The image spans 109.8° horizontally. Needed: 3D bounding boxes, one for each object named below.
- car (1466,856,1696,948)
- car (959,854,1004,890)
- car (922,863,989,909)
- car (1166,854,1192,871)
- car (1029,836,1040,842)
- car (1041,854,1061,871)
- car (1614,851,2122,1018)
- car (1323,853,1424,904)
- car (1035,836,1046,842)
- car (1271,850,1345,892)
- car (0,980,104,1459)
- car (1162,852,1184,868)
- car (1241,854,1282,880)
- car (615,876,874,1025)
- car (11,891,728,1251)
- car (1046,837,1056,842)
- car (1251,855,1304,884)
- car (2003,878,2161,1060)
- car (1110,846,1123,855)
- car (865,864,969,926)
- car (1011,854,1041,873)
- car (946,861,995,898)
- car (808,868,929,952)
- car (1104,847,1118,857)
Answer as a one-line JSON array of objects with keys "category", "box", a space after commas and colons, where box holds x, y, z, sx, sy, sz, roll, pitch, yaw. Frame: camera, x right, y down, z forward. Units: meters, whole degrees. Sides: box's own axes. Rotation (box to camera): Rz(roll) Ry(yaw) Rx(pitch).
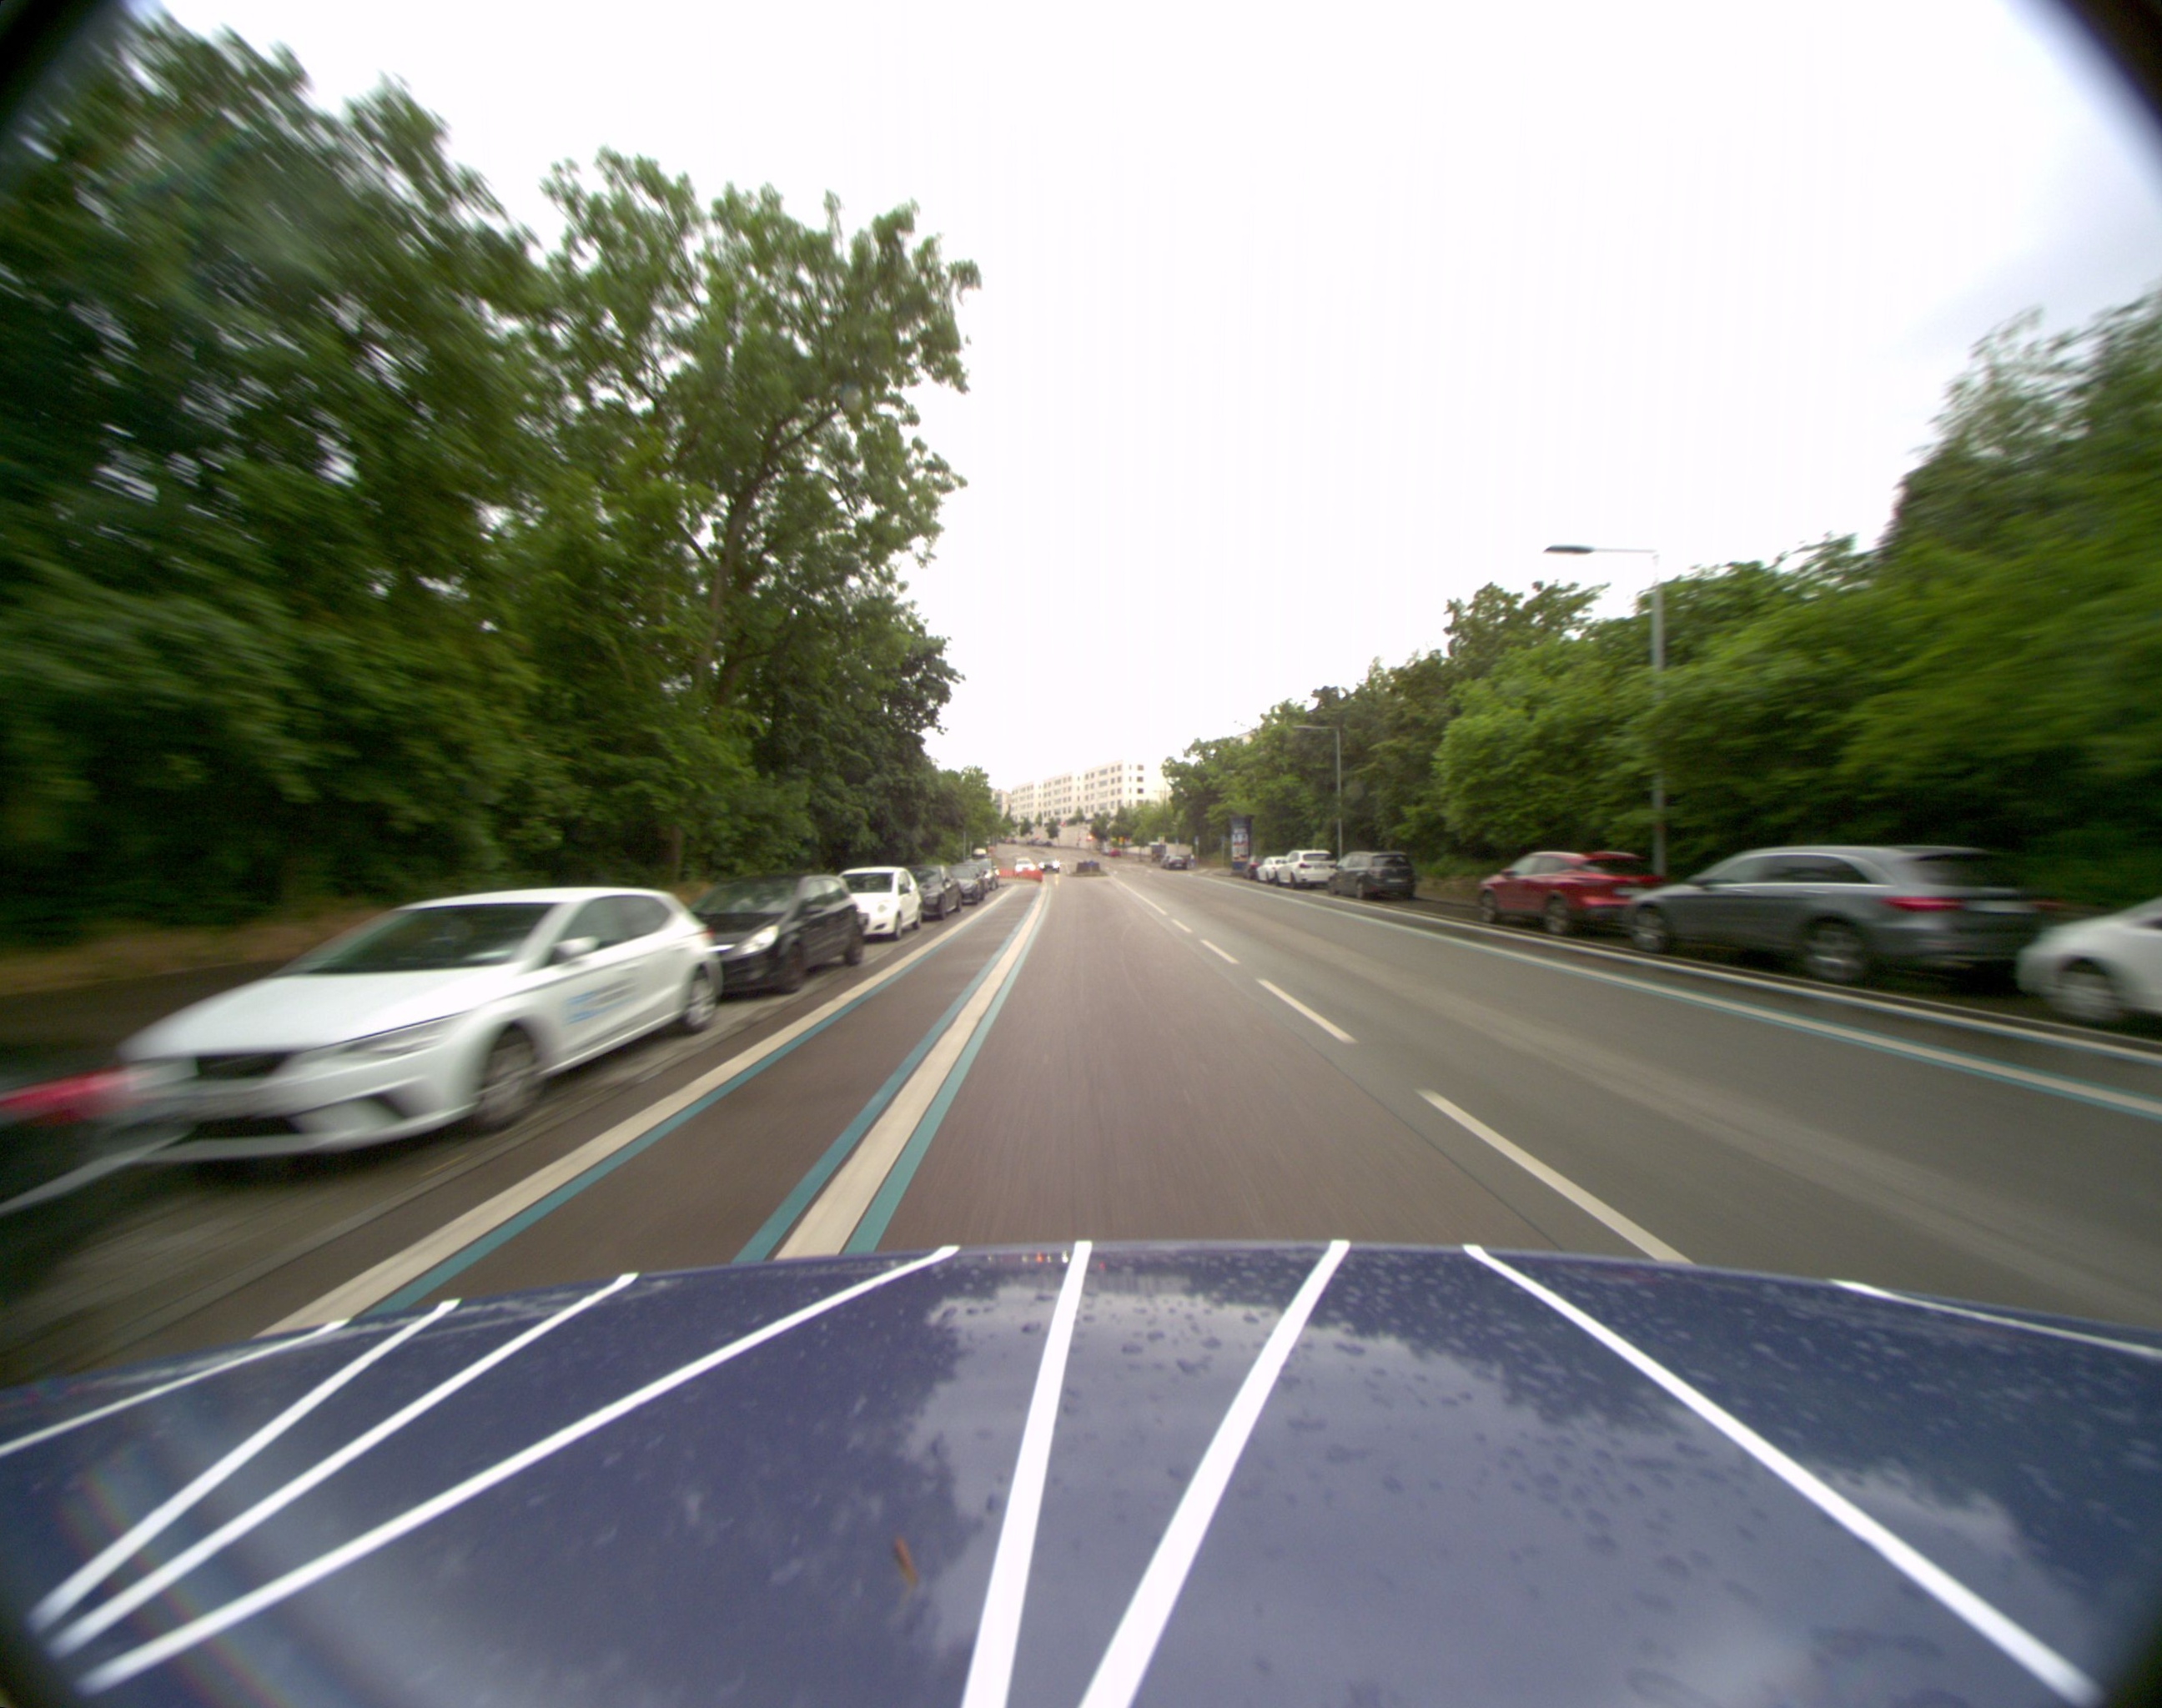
[{"category": "car", "box": [9.992, 0.861, 15.713, 1.923, 1.607, 4.490, 0, 0, 2]}, {"category": "car", "box": [-4.933, 0.857, 38.169, 1.827, 1.605, 4.250, -3, 1, -3]}, {"category": "car", "box": [-4.427, 1.095, 27.428, 1.858, 1.391, 4.384, -2, 0, -3]}, {"category": "car", "box": [9.708, 0.812, 75.622, 1.911, 1.406, 4.782, -2, 1, 1]}, {"category": "car", "box": [-13.228, -4.377, 216.660, 1.792, 1.623, 3.990, 0, 3, -24]}, {"category": "car", "box": [-3.168, 0.821, 78.543, 1.830, 1.584, 3.997, -2, 1, -5]}, {"category": "car", "box": [9.749, 0.836, 10.151, 1.998, 1.690, 4.615, -1, 0, 0]}, {"category": "car", "box": [10.313, 0.807, 27.190, 1.736, 1.639, 4.570, -2, 0, -2]}, {"category": "car", "box": [-11.375, -4.159, 212.533, 1.866, 1.470, 3.990, -1, 2, -24]}, {"category": "car", "box": [10.417, 0.713, 35.278, 1.998, 1.755, 4.960, -1, 0, 1]}, {"category": "car", "box": [-4.066, 1.152, 0.241, 1.756, 1.385, 4.445, -3, 0, -2]}, {"category": "car", "box": [9.868, 0.605, 81.776, 1.845, 1.580, 4.928, -2, 1, 1]}, {"category": "car", "box": [11.056, 0.775, 46.819, 1.753, 1.436, 4.588, -1, 0, 4]}, {"category": "car", "box": [-4.259, 1.128, 10.361, 1.663, 1.456, 3.900, -3, 0, 1]}, {"category": "car", "box": [-4.336, 1.136, 5.659, 1.622, 1.458, 3.999, -2, 0, -2]}, {"category": "car", "box": [-8.154, -3.905, 207.523, 1.683, 1.451, 2.689, -1, 3, -25]}, {"category": "car", "box": [10.559, 0.813, 41.148, 1.723, 1.451, 4.708, -1, 0, 1]}, {"category": "car", "box": [9.531, 0.950, 5.383, 1.621, 1.440, 3.657, 0, 0, 2]}, {"category": "car", "box": [6.376, -0.617, 137.162, 1.670, 1.578, 4.212, 0, 2, -7]}, {"category": "car", "box": [-4.468, 1.061, 21.433, 1.861, 1.446, 4.750, -2, 0, 0]}, {"category": "car", "box": [-5.028, 0.881, 69.194, 1.930, 1.652, 3.994, -1, 0, -17]}, {"category": "car", "box": [-4.764, 1.056, 33.128, 1.701, 1.404, 3.702, -3, 1, -3]}, {"category": "car", "box": [-4.356, 1.083, 16.091, 1.564, 1.452, 3.675, -2, 0, -1]}, {"category": "car", "box": [5.651, -0.439, 143.244, 1.769, 1.644, 4.878, -2, 3, -7]}]
